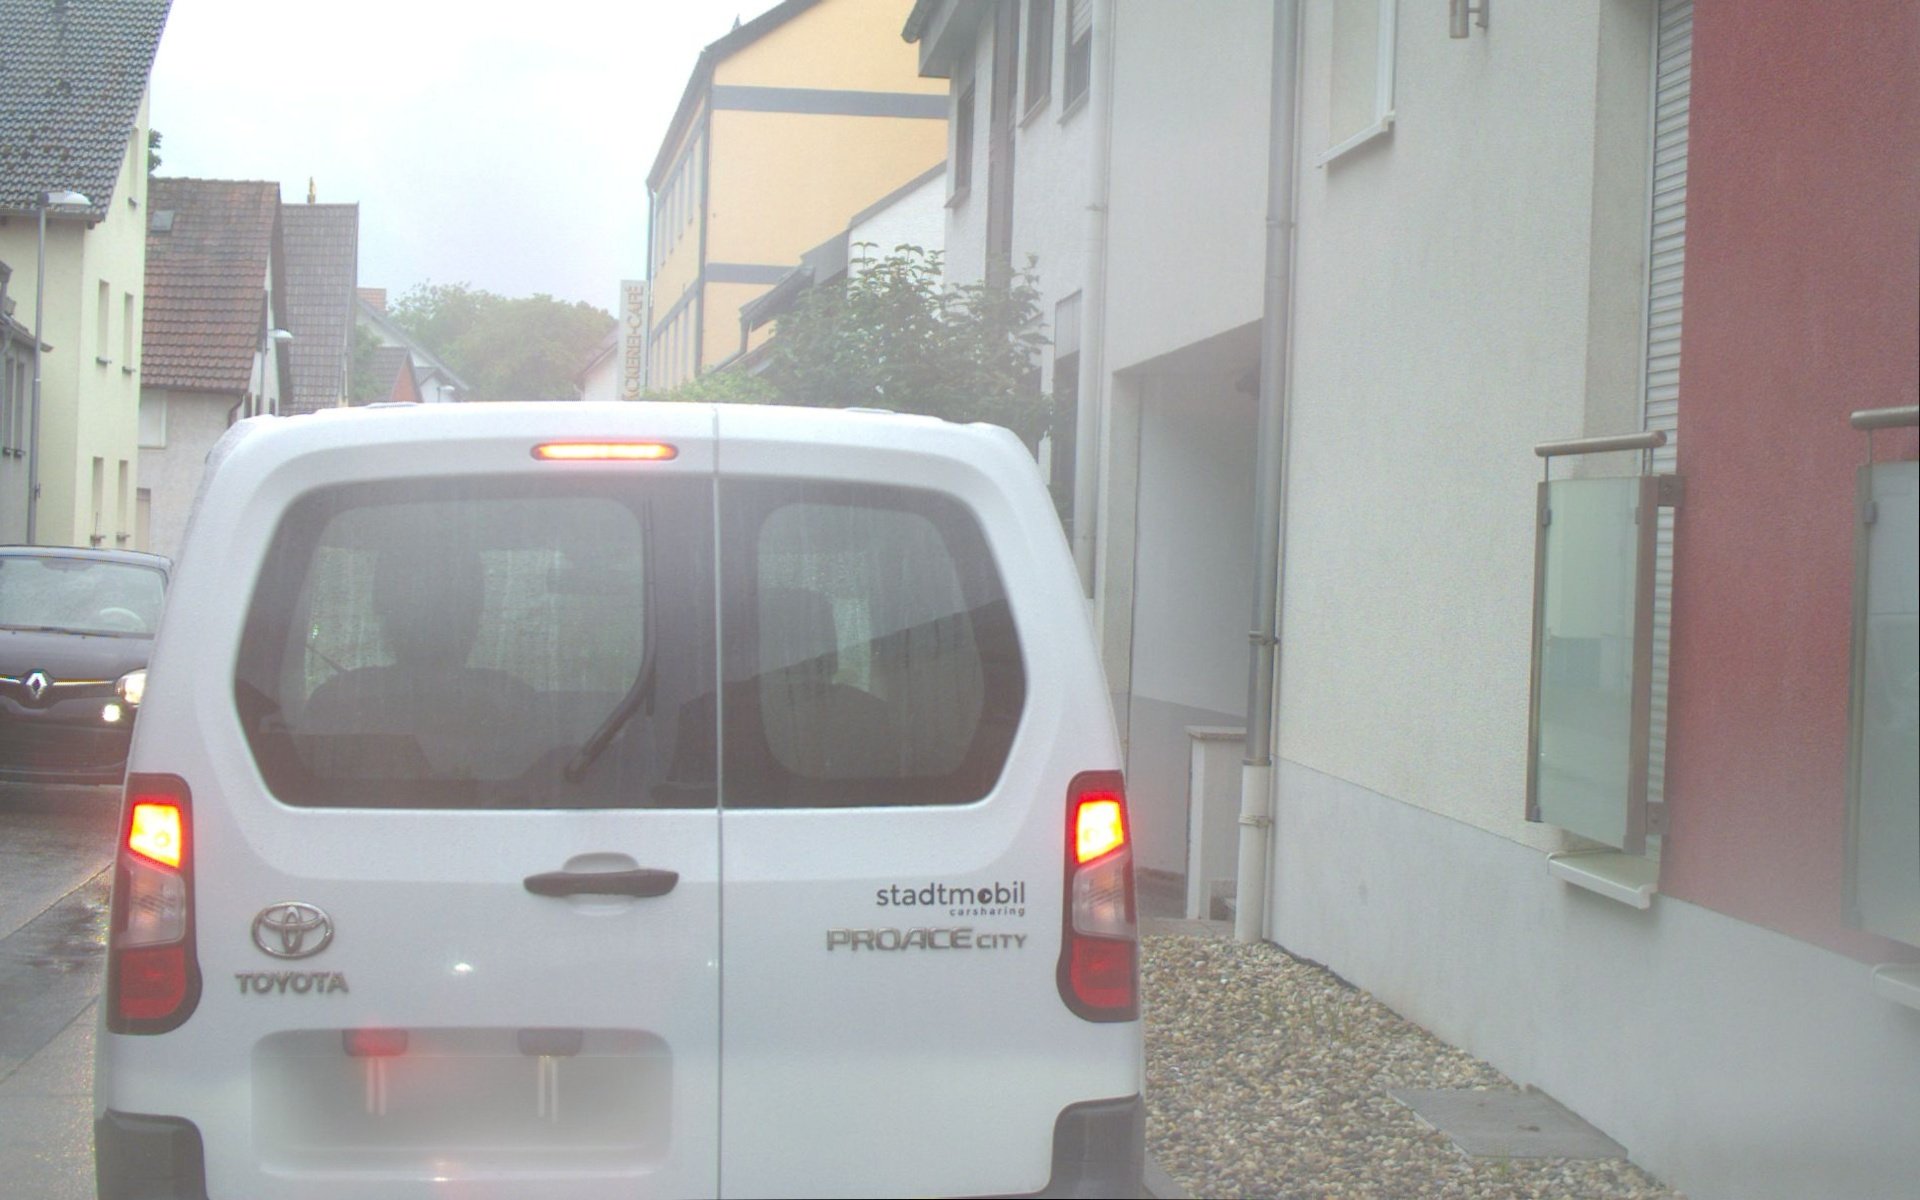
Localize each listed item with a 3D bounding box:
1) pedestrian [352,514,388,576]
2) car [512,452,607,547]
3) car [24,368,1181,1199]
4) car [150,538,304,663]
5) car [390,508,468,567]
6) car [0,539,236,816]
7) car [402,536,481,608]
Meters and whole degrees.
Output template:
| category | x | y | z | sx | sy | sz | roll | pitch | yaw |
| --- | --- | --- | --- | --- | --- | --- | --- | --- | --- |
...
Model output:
| category | x | y | z | sx | sy | sz | roll | pitch | yaw |
| --- | --- | --- | --- | --- | --- | --- | --- | --- | --- |
| pedestrian | -18.289 | -1.695 | 106.564 | 1.050 | 1.886 | 0.877 | 1 | 0 | -9 |
| car | -8.862 | -2.199 | 76.313 | 1.993 | 2.007 | 4.001 | 1 | 1 | -6 |
| car | -0.849 | 0.524 | 7.330 | 1.774 | 1.774 | 4.001 | 1 | 1 | -9 |
| car | -9.919 | -0.024 | 46.747 | 1.832 | 1.550 | 4.241 | 2 | 0 | -10 |
| car | -12.945 | -1.507 | 83.683 | 1.779 | 1.390 | 4.001 | 1 | 1 | -10 |
| car | -5.438 | 0.407 | 21.160 | 1.604 | 1.508 | 3.689 | 2 | 1 | -8 |
| car | -10.994 | -0.602 | 72.784 | 1.560 | 1.472 | 4.001 | 1 | 1 | -10 |
